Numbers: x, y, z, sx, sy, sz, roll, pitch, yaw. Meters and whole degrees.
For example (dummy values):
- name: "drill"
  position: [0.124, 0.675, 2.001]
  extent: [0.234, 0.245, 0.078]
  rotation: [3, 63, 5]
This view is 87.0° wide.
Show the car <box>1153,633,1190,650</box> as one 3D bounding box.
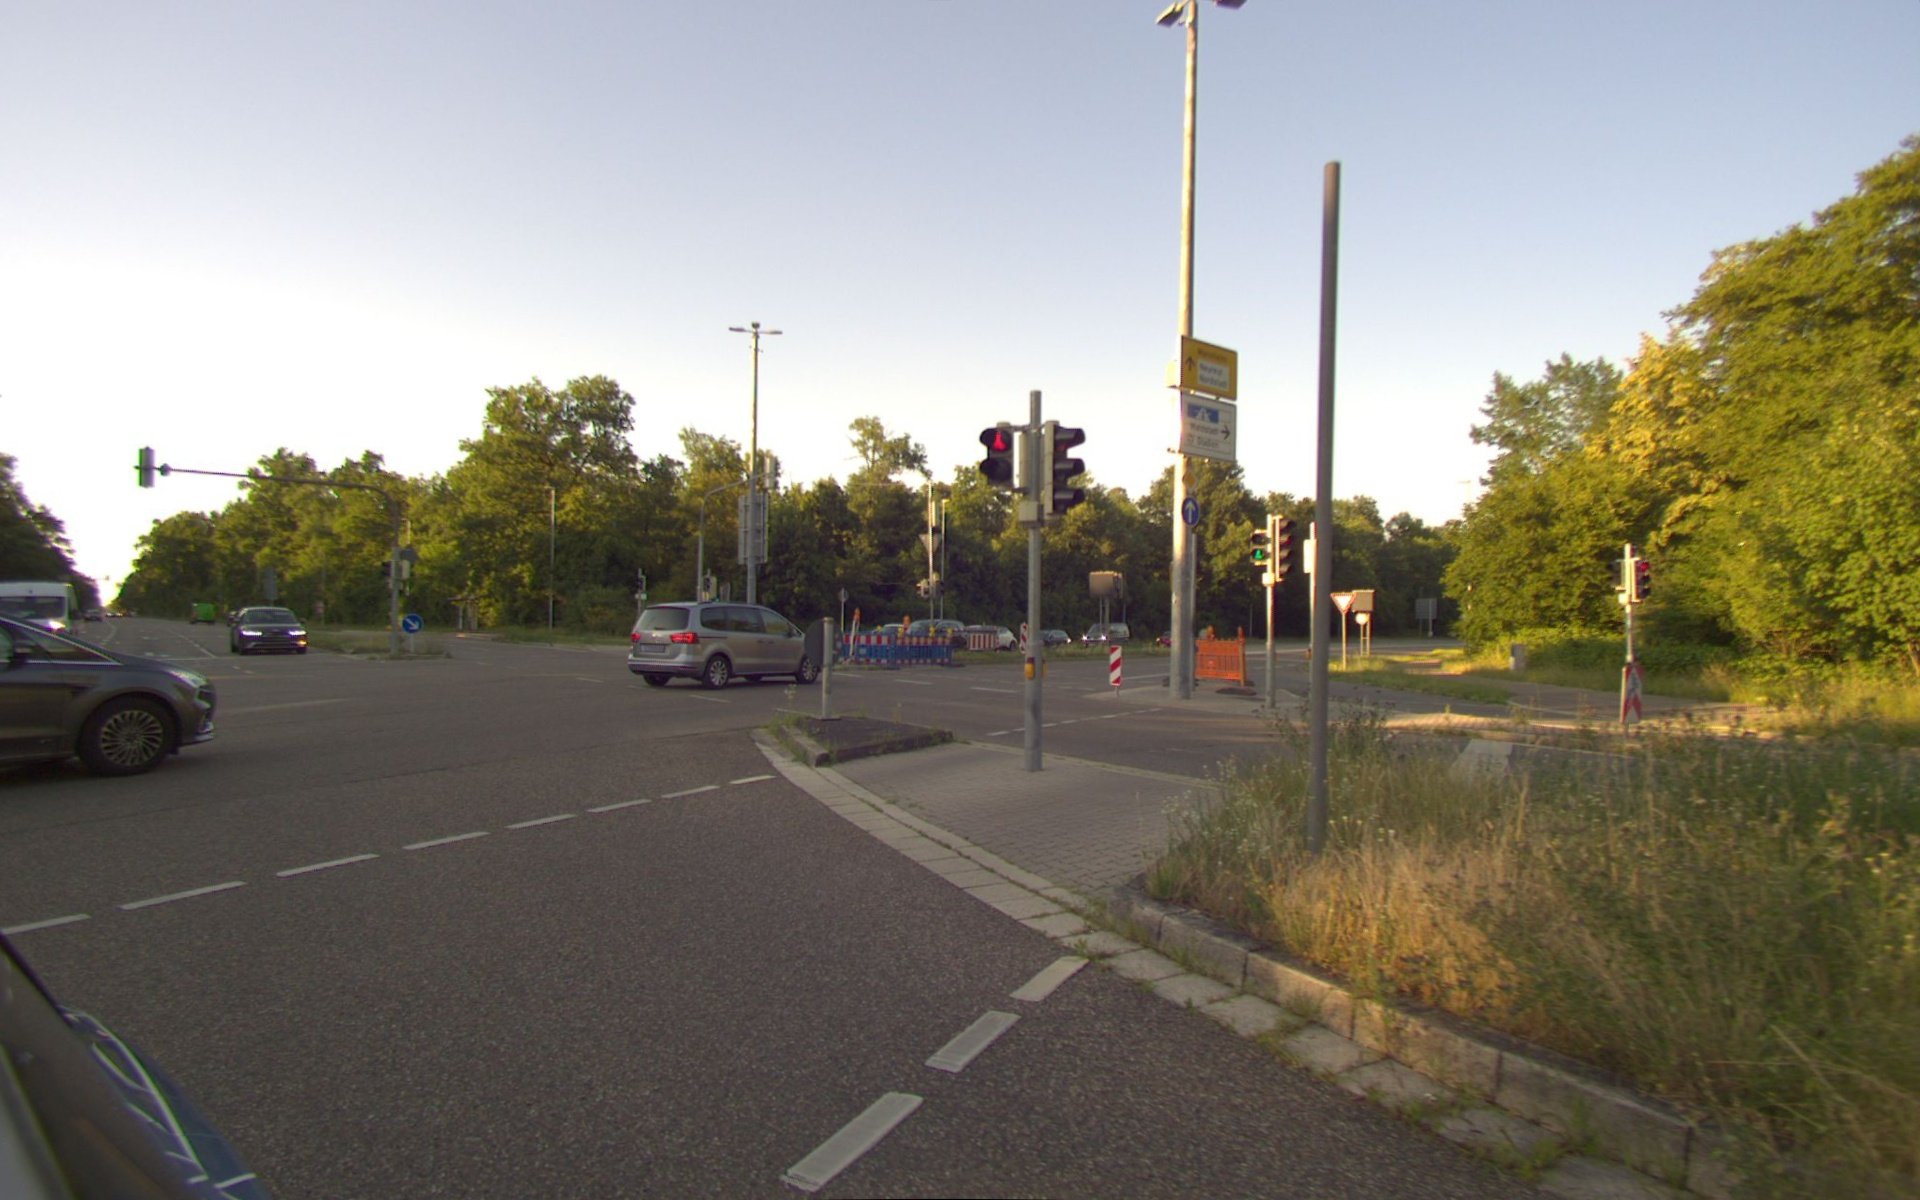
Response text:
- name: "car"
  position: [18.514, 3.588, 88.561]
  extent: [1.878, 1.432, 4.187]
  rotation: [0, -1, 32]

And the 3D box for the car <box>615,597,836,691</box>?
- name: "car"
  position: [-4.753, 0.885, 21.211]
  extent: [1.865, 1.738, 4.611]
  rotation: [-1, -2, 31]

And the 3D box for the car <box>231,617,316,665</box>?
- name: "car"
  position: [-23.936, 1.381, 35.235]
  extent: [1.971, 1.531, 4.006]
  rotation: [2, -1, -41]

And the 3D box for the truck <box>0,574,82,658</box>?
- name: "truck"
  position: [-31.087, 0.593, 33.741]
  extent: [2.565, 2.576, 6.033]
  rotation: [-2, 0, -40]

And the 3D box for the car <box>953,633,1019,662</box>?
- name: "car"
  position: [1.447, 2.569, 55.168]
  extent: [1.716, 1.467, 4.186]
  rotation: [0, -1, 32]

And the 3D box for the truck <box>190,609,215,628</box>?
- name: "truck"
  position: [-87.635, 2.146, 117.069]
  extent: [1.969, 2.137, 4.005]
  rotation: [2, -2, -42]

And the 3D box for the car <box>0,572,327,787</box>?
- name: "car"
  position: [-8.301, 0.603, 8.478]
  extent: [2.002, 1.673, 4.778]
  rotation: [1, 1, 26]

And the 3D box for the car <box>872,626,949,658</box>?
- name: "car"
  position: [-2.398, 2.041, 50.005]
  extent: [1.717, 1.467, 4.186]
  rotation: [0, -1, 33]

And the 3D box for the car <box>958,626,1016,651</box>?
- name: "car"
  position: [1.715, 2.352, 63.042]
  extent: [1.717, 1.467, 4.186]
  rotation: [0, -1, 33]

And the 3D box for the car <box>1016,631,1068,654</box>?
- name: "car"
  position: [5.605, 2.860, 68.824]
  extent: [1.717, 1.467, 4.352]
  rotation: [0, -1, 33]

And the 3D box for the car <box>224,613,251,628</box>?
- name: "car"
  position: [-73.479, 2.101, 102.923]
  extent: [1.639, 1.337, 4.050]
  rotation: [2, 0, -44]

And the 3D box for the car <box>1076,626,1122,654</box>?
- name: "car"
  position: [10.426, 2.942, 75.461]
  extent: [1.878, 2.040, 4.187]
  rotation: [0, -1, 32]
